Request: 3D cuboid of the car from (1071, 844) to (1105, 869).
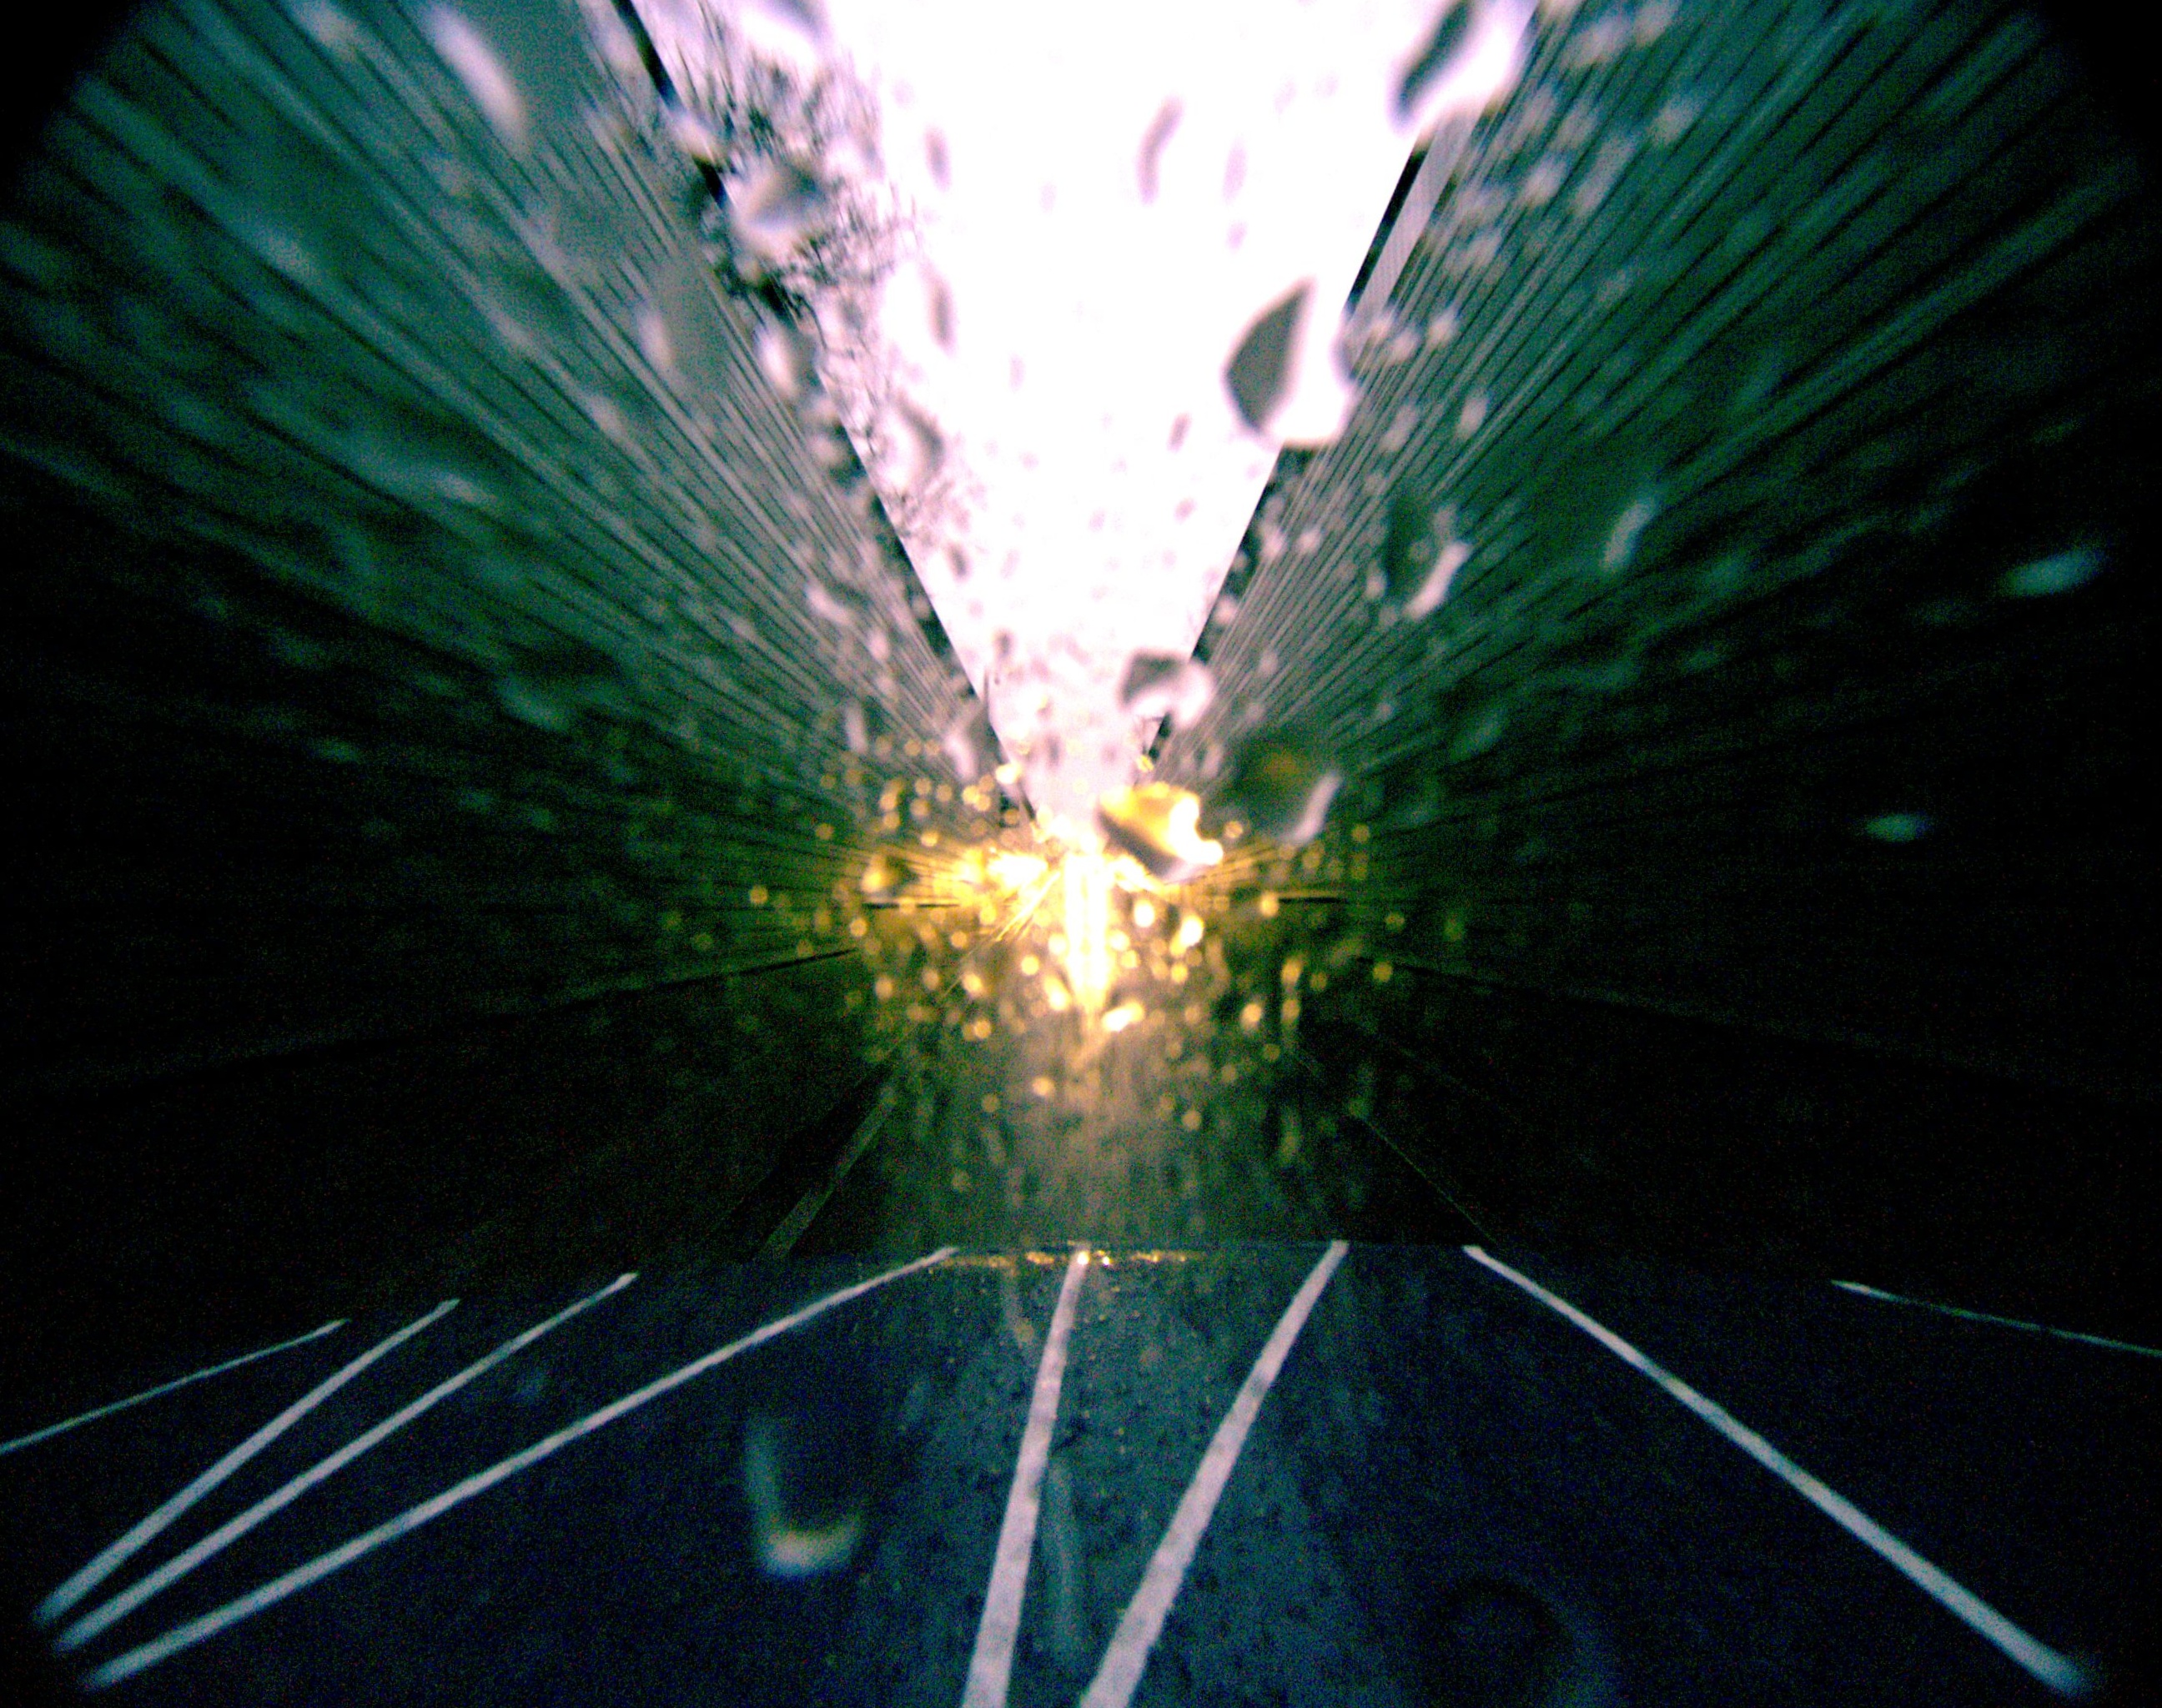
[{"bbox_3d":[0.502,0.192,50.763,2.160,1.489,4.010,-1,-3,1],"label":"car"}]
